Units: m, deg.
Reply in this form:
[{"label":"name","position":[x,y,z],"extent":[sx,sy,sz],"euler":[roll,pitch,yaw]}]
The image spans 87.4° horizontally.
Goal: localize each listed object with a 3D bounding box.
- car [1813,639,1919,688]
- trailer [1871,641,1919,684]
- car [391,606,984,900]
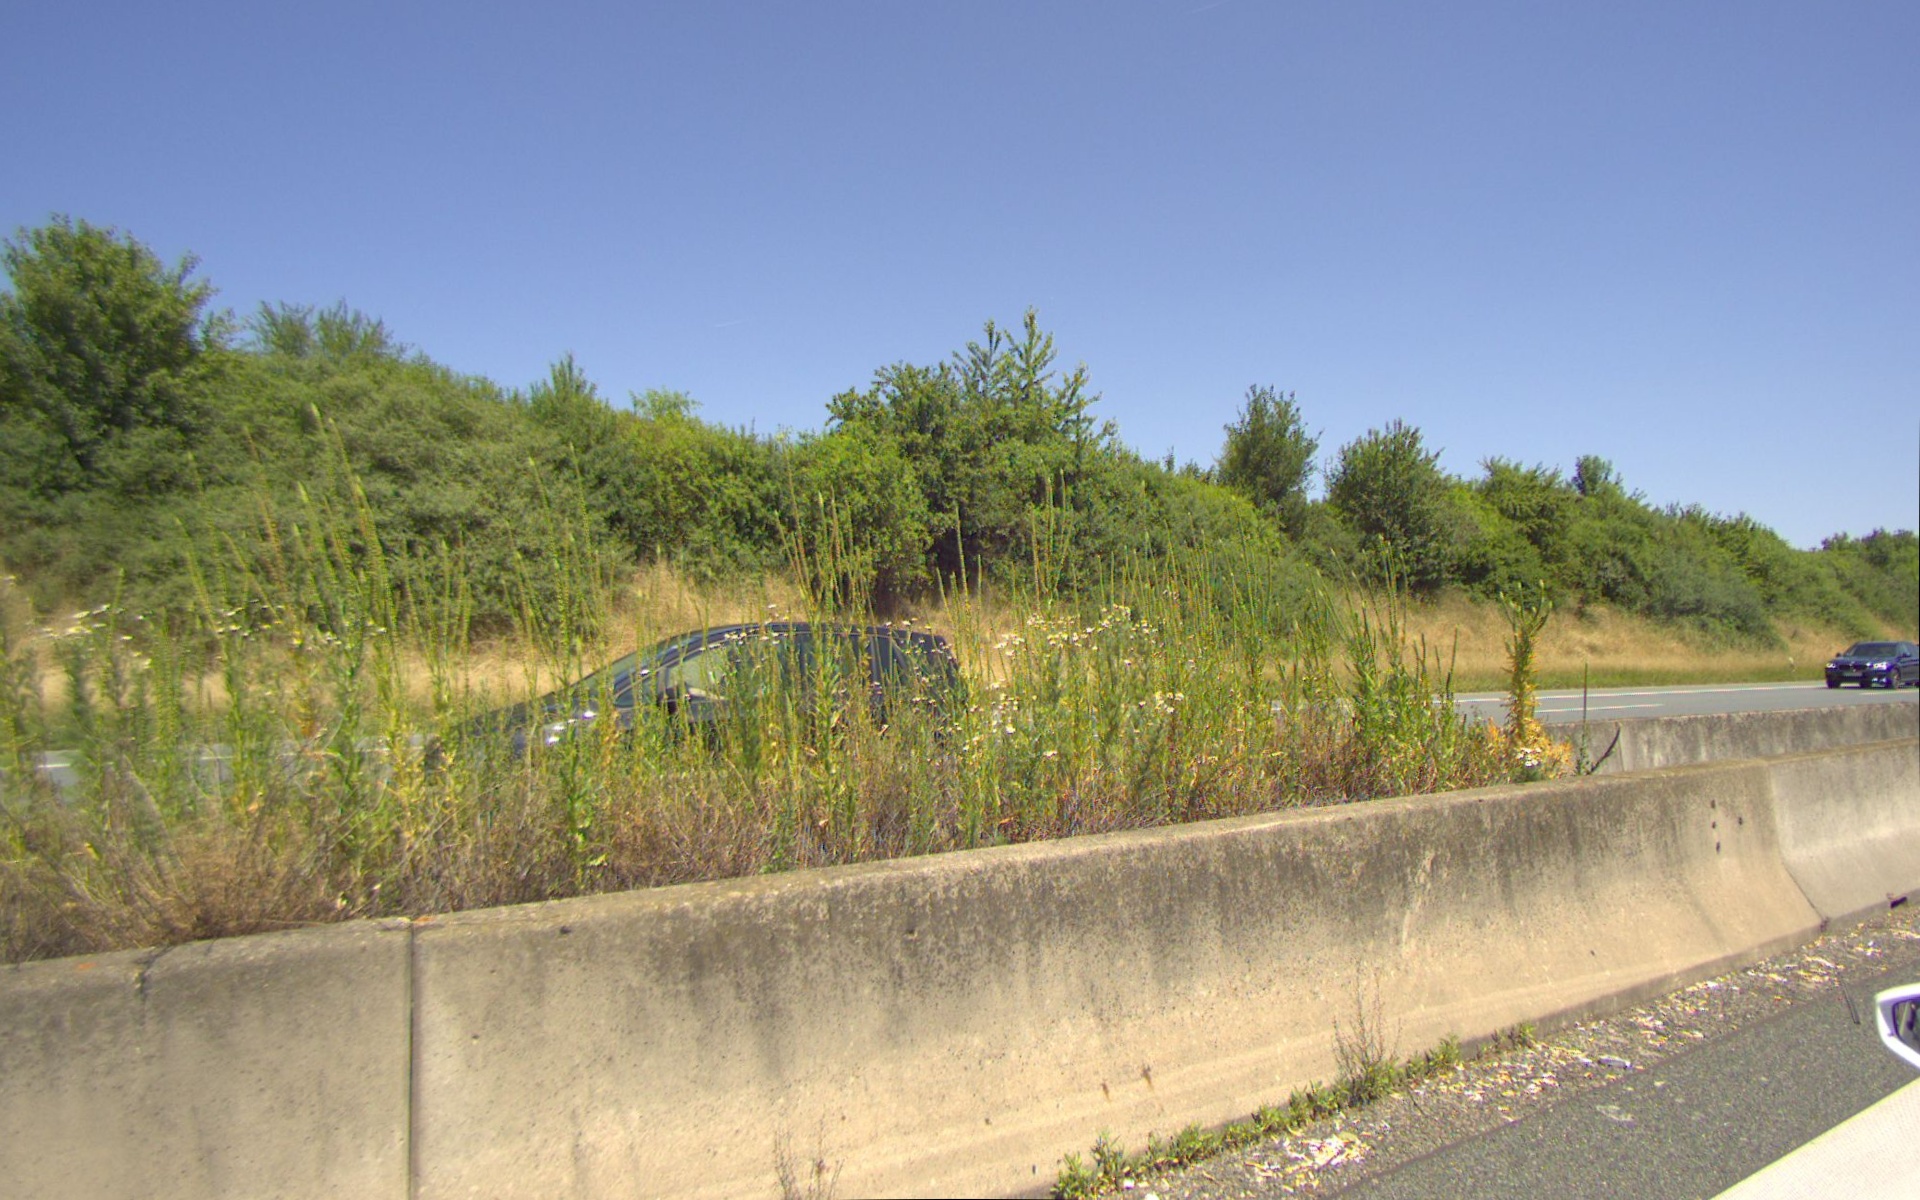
[{"label":"car","position":[32.863,2.249,36.049],"extent":[4.576,1.671,1.985],"euler":[1,-4,-30]},{"label":"trailer","position":[36.446,2.363,38.211],"extent":[3.735,1.572,1.562],"euler":[1,-3,-30]},{"label":"car","position":[-2.029,0.975,7.823],"extent":[4.123,1.722,1.764],"euler":[2,0,-31]}]
